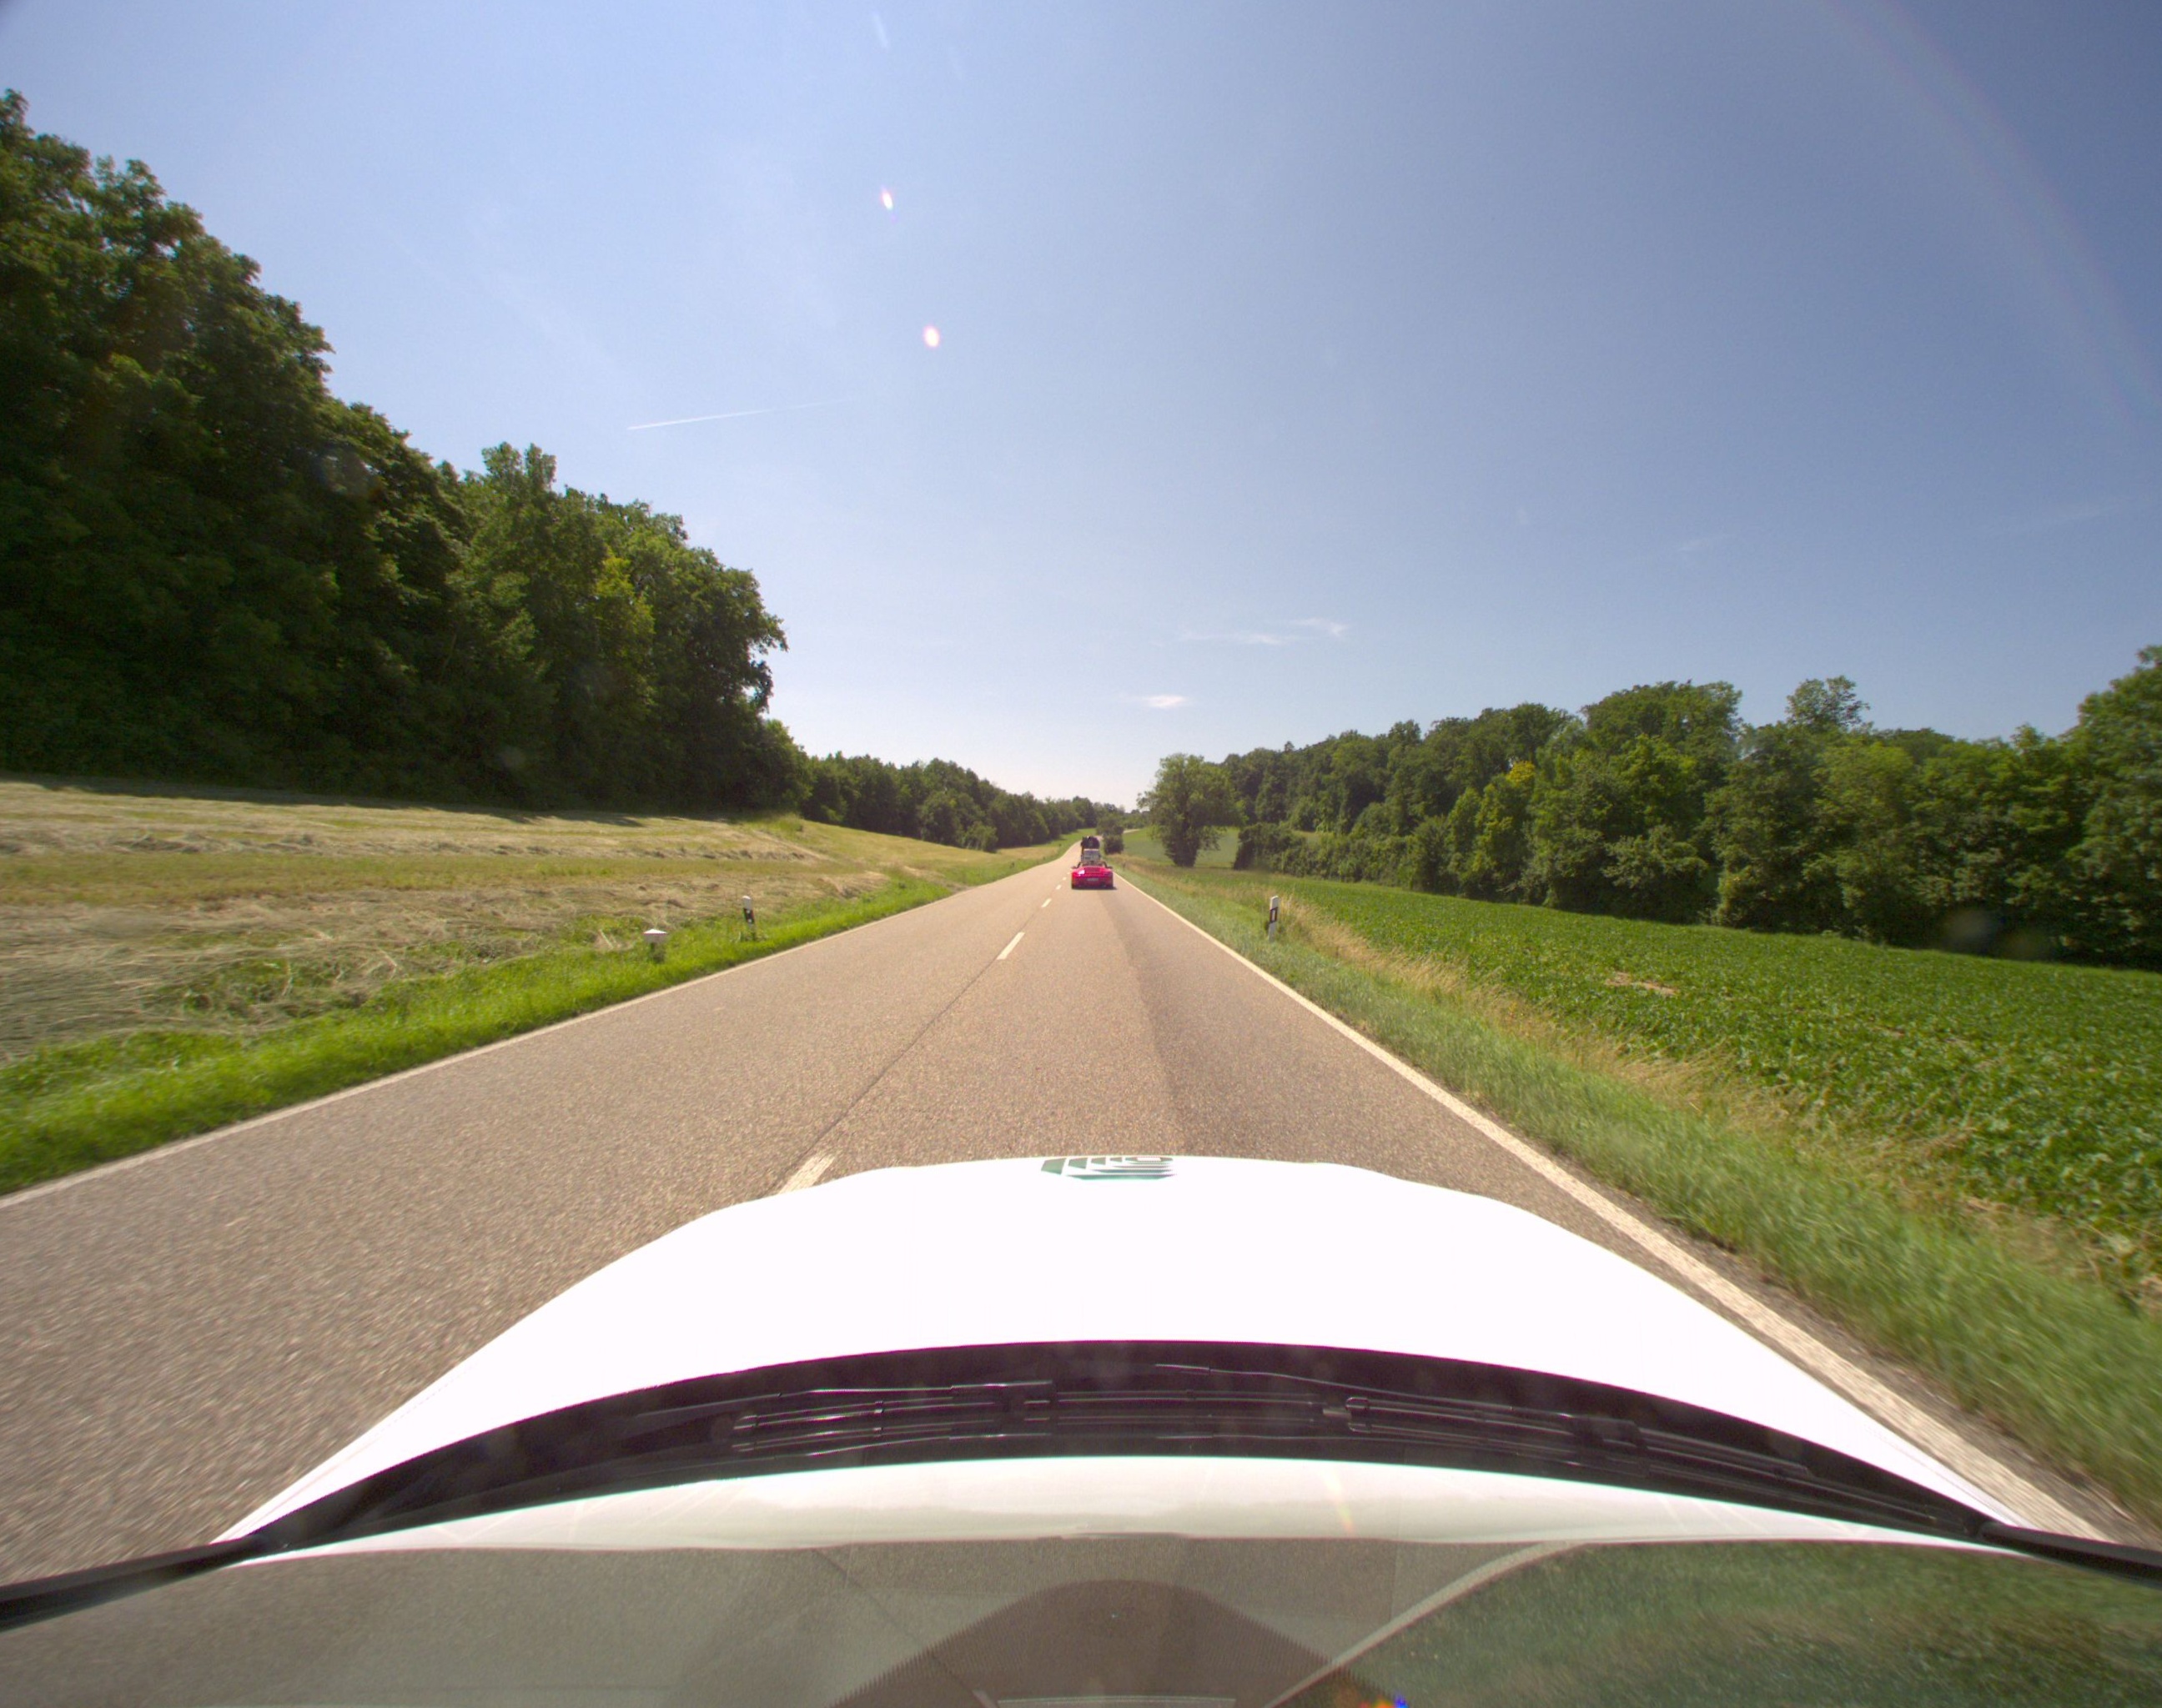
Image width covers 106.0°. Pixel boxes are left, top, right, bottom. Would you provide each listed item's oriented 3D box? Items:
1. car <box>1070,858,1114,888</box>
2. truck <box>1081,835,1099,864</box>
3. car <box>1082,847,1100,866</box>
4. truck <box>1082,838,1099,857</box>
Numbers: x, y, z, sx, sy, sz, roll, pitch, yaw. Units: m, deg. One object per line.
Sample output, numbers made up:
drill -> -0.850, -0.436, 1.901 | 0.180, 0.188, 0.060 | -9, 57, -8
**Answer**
car -> 0.519, 0.847, 37.171 | 1.876, 1.255, 4.010 | -1, 0, 1
truck -> 1.274, -0.626, 120.679 | 2.397, 4.049, 12.546 | -1, 0, -1
car -> 1.091, 0.273, 84.403 | 1.672, 1.900, 4.013 | -1, 0, 3
truck -> 2.293, -1.740, 206.725 | 3.716, 4.659, 12.023 | 0, 2, -2
